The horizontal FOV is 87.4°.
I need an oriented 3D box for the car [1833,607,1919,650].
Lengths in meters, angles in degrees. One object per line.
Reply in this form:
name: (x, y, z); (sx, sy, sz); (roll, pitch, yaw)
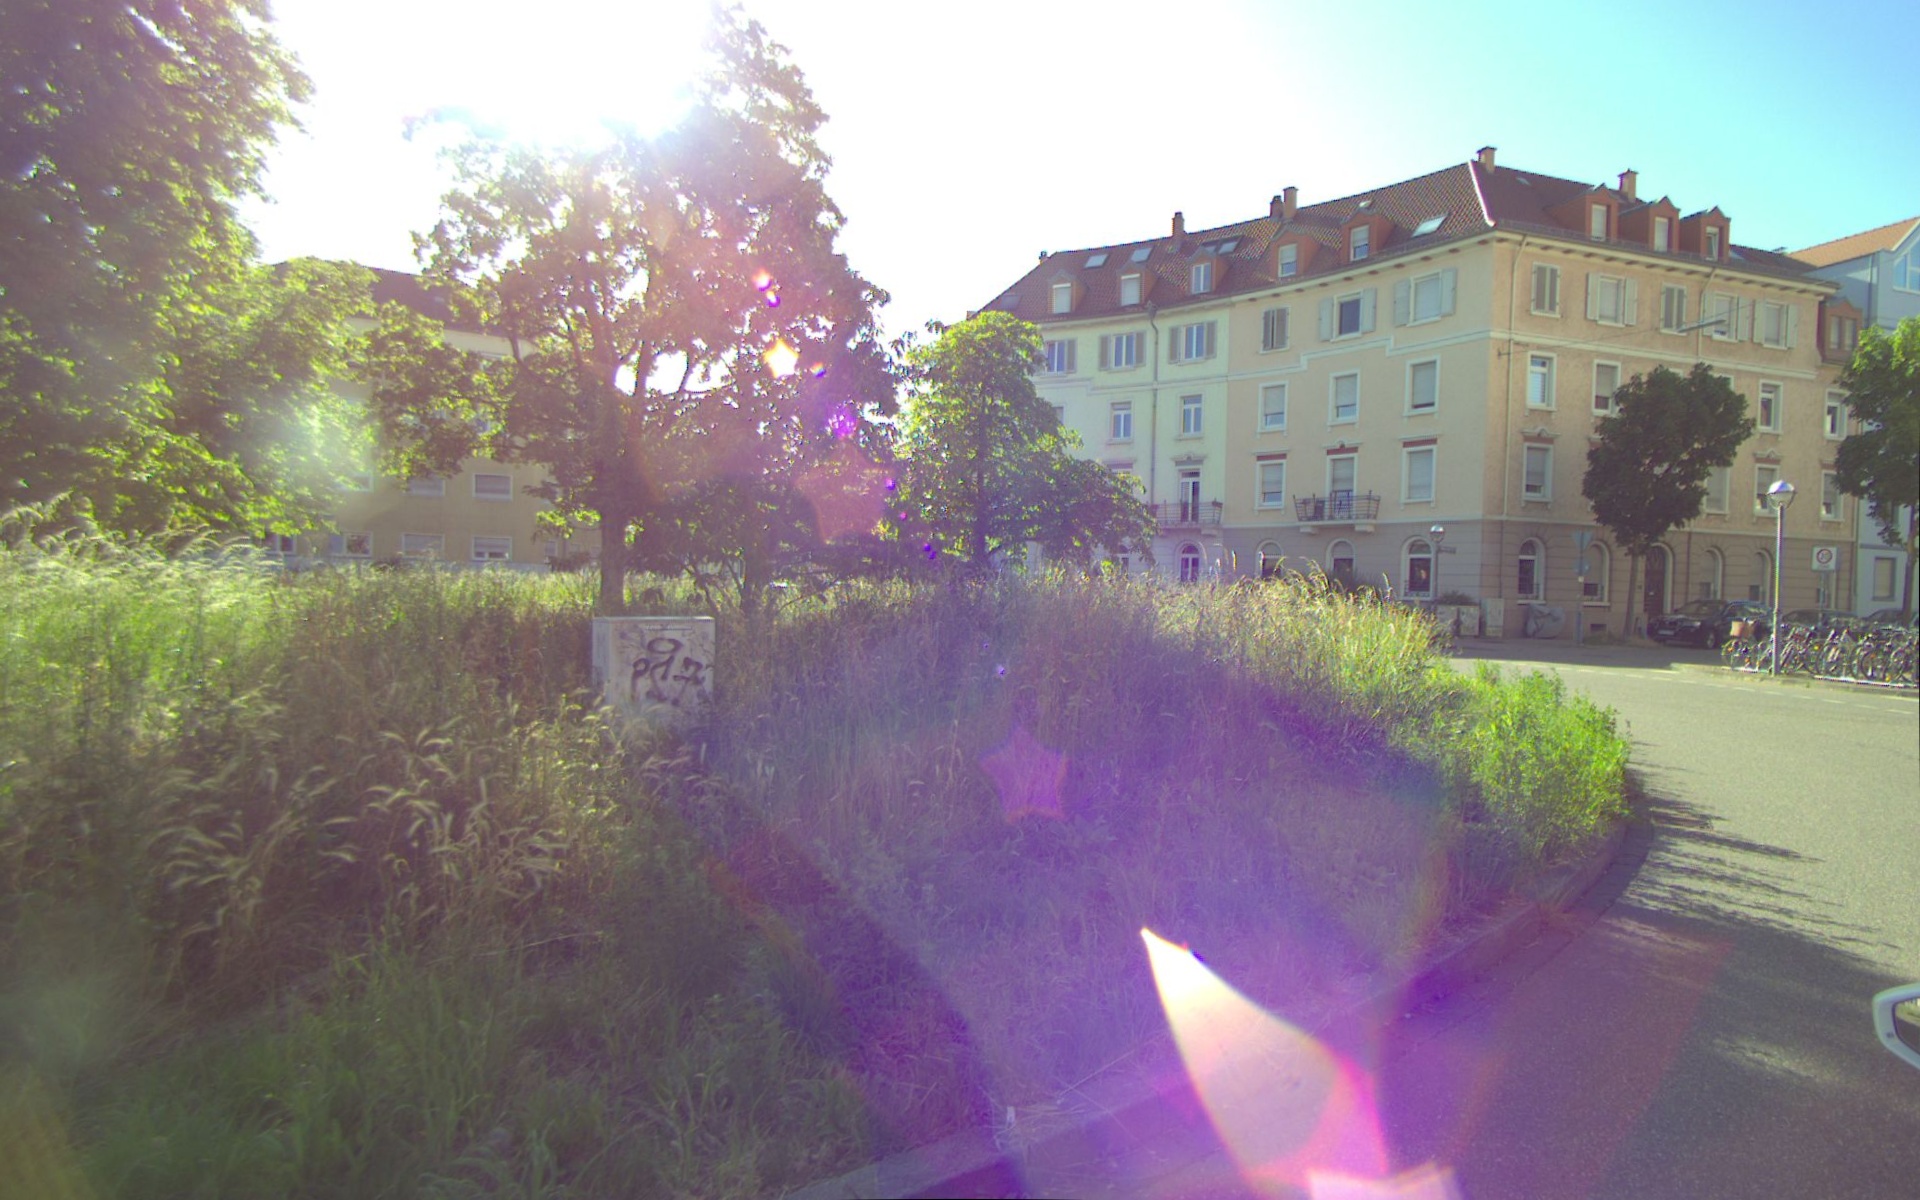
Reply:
car: (35.414, 1.088, 38.035); (3.938, 1.506, 1.695); (1, 1, -17)

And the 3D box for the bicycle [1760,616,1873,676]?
bicycle: (17.431, 0.925, 20.472); (1.662, 1.161, 0.638); (1, 1, 5)

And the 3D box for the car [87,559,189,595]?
car: (-34.142, -0.962, 41.714); (4.407, 1.430, 1.730); (1, 1, 28)

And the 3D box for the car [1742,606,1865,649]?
car: (30.432, 0.991, 36.259); (3.604, 1.431, 1.695); (1, 1, -17)

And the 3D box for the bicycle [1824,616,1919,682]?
bicycle: (17.398, 0.926, 19.038); (1.664, 1.207, 0.451); (1, 1, -3)

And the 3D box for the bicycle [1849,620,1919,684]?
bicycle: (17.475, 0.961, 18.585); (1.664, 1.138, 0.483); (1, 1, -3)

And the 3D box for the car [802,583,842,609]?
car: (-7.846, -0.233, 57.418); (1.765, 1.432, 3.999); (1, 1, -1)

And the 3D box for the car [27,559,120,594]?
car: (-39.360, -1.055, 44.575); (4.307, 1.458, 1.733); (2, 1, 28)

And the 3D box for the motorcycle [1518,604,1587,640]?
motorcycle: (21.630, 0.793, 36.677); (2.118, 1.237, 0.939); (1, 3, -17)

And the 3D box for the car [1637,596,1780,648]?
car: (25.751, 0.768, 34.567); (4.282, 1.664, 1.900); (1, 1, -21)

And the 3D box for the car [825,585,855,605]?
car: (-8.086, -0.366, 67.892); (1.765, 1.272, 3.717); (1, 1, -3)

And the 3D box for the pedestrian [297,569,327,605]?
pedestrian: (-27.830, -0.566, 43.144); (0.684, 1.544, 0.825); (2, 2, 25)

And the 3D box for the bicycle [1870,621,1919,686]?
bicycle: (17.502, 0.964, 18.132); (1.685, 1.138, 0.483); (1, 1, -1)

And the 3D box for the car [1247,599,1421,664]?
car: (9.440, 0.732, 25.656); (1.846, 1.438, 3.973); (0, 1, -26)

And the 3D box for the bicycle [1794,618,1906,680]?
bicycle: (17.345, 0.945, 19.592); (1.664, 1.161, 0.616); (1, 1, -3)

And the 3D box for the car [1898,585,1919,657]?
car: (28.066, 0.625, 27.273); (4.496, 1.935, 2.129); (1, 1, -23)

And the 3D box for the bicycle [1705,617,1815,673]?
bicycle: (17.391, 0.977, 21.856); (1.831, 1.145, 0.699); (2, 0, -1)

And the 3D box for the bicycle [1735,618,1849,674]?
bicycle: (17.468, 0.960, 21.111); (1.841, 1.105, 0.536); (1, 1, 5)
